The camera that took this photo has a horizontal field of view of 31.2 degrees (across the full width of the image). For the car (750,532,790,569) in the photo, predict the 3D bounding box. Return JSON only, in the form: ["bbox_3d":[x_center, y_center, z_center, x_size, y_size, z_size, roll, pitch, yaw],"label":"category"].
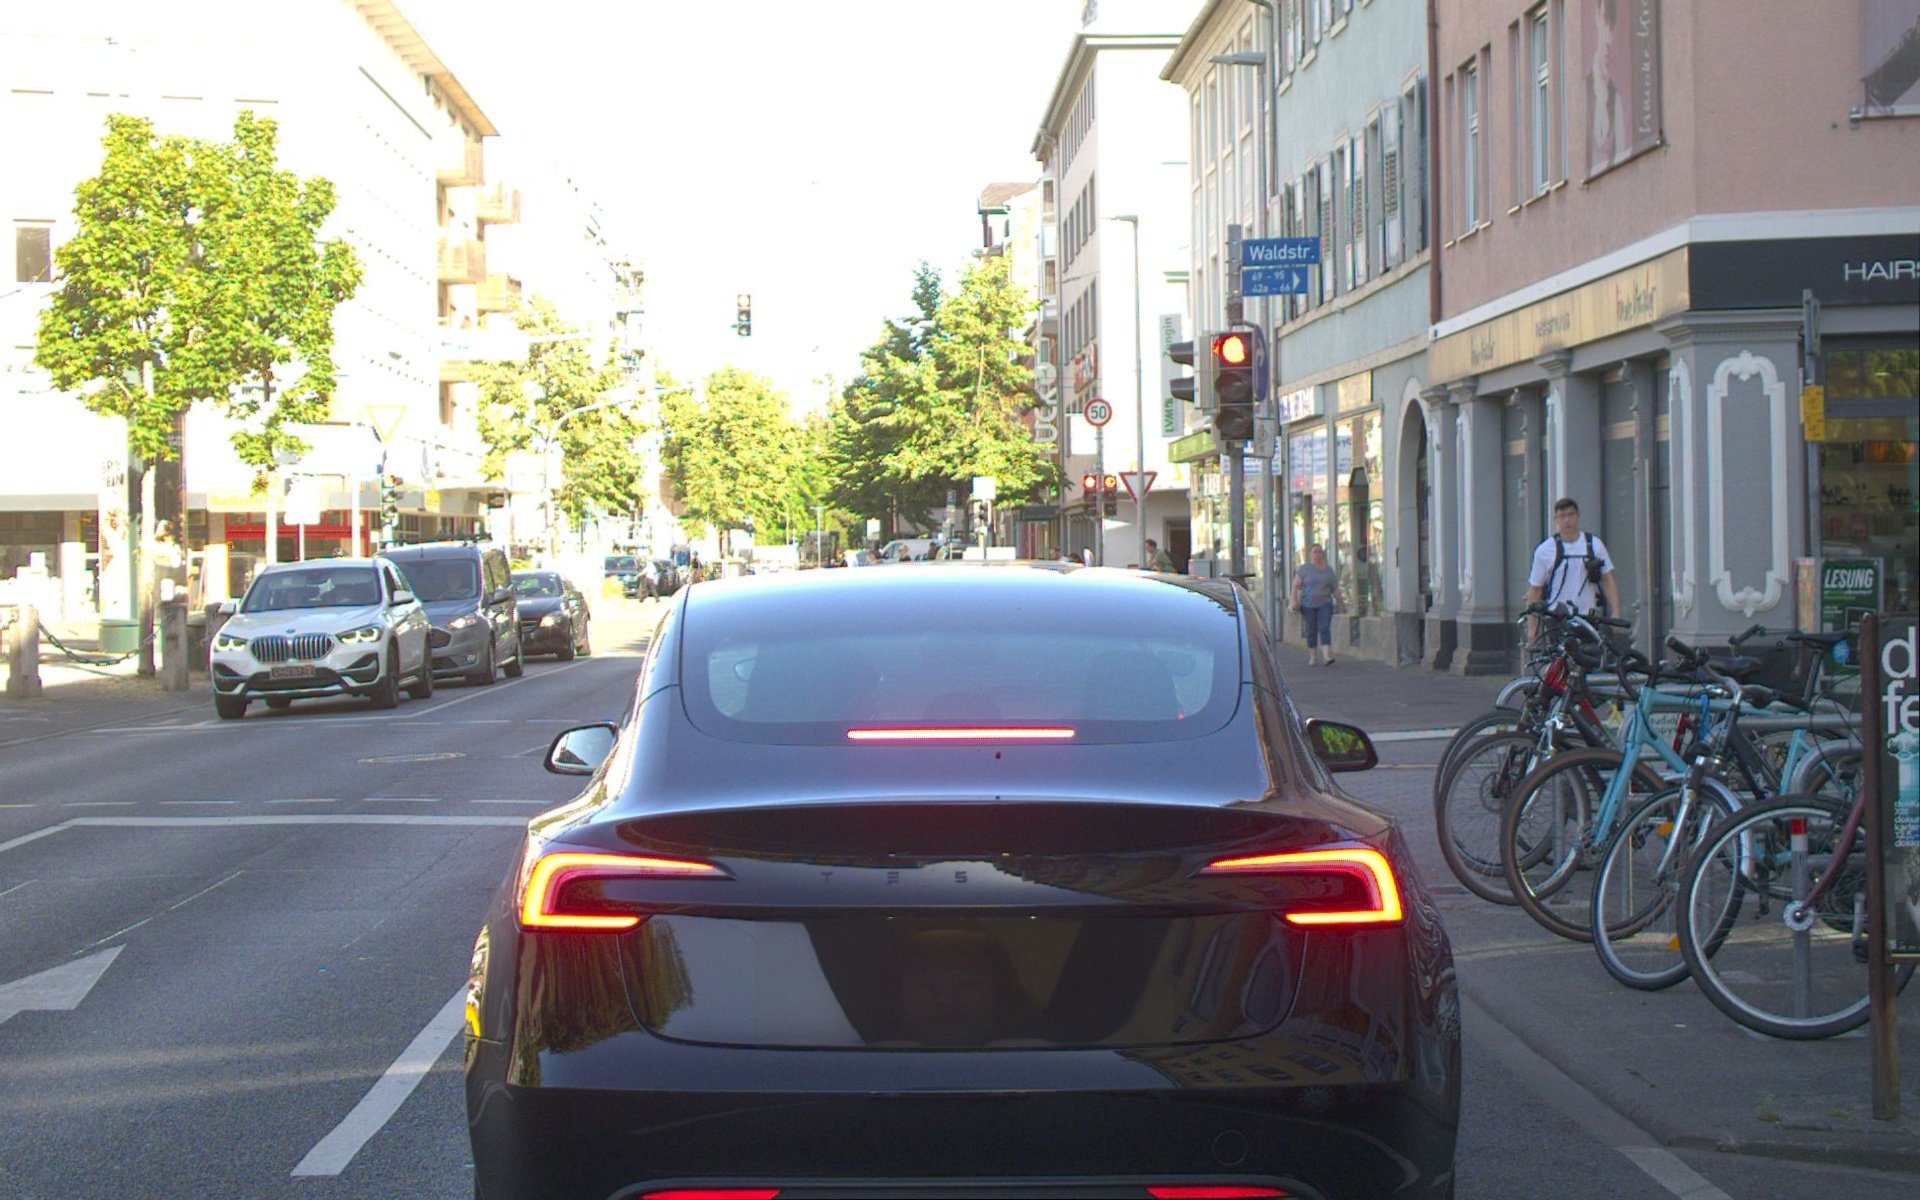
[{"bbox_3d":[-10.341,-2.691,187.139,1.993,2.007,4.000,0,1,-1],"label":"car"}]

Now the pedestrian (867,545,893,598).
[{"bbox_3d":[-2.182,-0.772,93.505,0.521,1.417,0.479,1,0,-30],"label":"pedestrian"}]

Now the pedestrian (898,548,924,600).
[{"bbox_3d":[-1.355,-0.718,94.252,0.521,1.417,0.479,1,0,-30],"label":"pedestrian"}]

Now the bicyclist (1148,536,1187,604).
[{"bbox_3d":[4.300,-0.619,71.139,0.669,1.390,0.462,1,0,-16],"label":"bicyclist"}]

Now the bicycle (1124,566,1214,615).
[{"bbox_3d":[4.333,-0.196,71.157,1.784,1.003,0.472,1,0,-16],"label":"bicycle"}]

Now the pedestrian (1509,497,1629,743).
[{"bbox_3d":[4.449,0.137,25.156,0.750,1.759,0.836,1,0,4],"label":"pedestrian"}]

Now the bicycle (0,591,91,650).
[{"bbox_3d":[-14.837,0.322,54.704,1.864,0.931,0.606,0,1,-1],"label":"bicycle"}]

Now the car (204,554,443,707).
[{"bbox_3d":[-6.638,0.288,36.194,1.789,1.455,3.757,-2,1,0],"label":"car"}]

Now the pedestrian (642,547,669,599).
[{"bbox_3d":[-10.046,-0.888,113.327,0.848,1.689,0.718,0,1,-3],"label":"pedestrian"}]

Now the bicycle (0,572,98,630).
[{"bbox_3d":[-20.788,0.017,77.910,2.361,1.291,0.513,1,0,-26],"label":"bicycle"}]

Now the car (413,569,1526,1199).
[{"bbox_3d":[-0.006,0.654,7.632,1.822,1.437,4.000,0,1,-1],"label":"car"}]

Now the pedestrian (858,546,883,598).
[{"bbox_3d":[-2.462,-0.780,94.338,0.472,1.412,0.522,1,0,-31],"label":"pedestrian"}]

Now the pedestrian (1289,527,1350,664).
[{"bbox_3d":[4.604,-0.063,44.054,0.706,1.736,0.540,0,1,-1],"label":"pedestrian"}]

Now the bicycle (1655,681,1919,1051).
[{"bbox_3d":[3.007,0.752,9.997,1.873,1.034,0.353,-2,0,6],"label":"bicycle"}]

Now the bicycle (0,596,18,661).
[{"bbox_3d":[-14.681,0.405,49.861,1.864,0.931,0.606,1,0,-1],"label":"bicycle"}]

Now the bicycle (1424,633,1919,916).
[{"bbox_3d":[2.814,0.686,13.634,1.873,1.034,0.547,-2,0,5],"label":"bicycle"}]

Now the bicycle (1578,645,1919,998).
[{"bbox_3d":[2.994,0.699,11.160,1.873,1.084,0.414,-2,0,4],"label":"bicycle"}]

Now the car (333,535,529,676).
[{"bbox_3d":[-6.518,0.043,42.766,1.787,1.640,4.403,1,1,-1],"label":"car"}]

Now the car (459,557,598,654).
[{"bbox_3d":[-6.746,0.067,54.060,1.715,1.441,3.845,1,1,-1],"label":"car"}]

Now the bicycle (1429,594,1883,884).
[{"bbox_3d":[2.964,0.589,14.753,1.828,1.165,0.505,-2,0,5],"label":"bicycle"}]

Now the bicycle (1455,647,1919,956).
[{"bbox_3d":[2.777,0.717,12.459,1.873,1.034,0.533,-2,0,4],"label":"bicycle"}]

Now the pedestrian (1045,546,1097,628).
[{"bbox_3d":[2.228,-0.265,69.172,0.754,1.626,0.956,1,0,-18],"label":"pedestrian"}]

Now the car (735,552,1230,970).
[{"bbox_3d":[0.012,0.532,13.803,1.718,1.420,3.758,0,1,-2],"label":"car"}]

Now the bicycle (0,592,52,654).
[{"bbox_3d":[-14.809,0.347,52.256,1.864,0.931,0.606,0,1,-1],"label":"bicycle"}]
